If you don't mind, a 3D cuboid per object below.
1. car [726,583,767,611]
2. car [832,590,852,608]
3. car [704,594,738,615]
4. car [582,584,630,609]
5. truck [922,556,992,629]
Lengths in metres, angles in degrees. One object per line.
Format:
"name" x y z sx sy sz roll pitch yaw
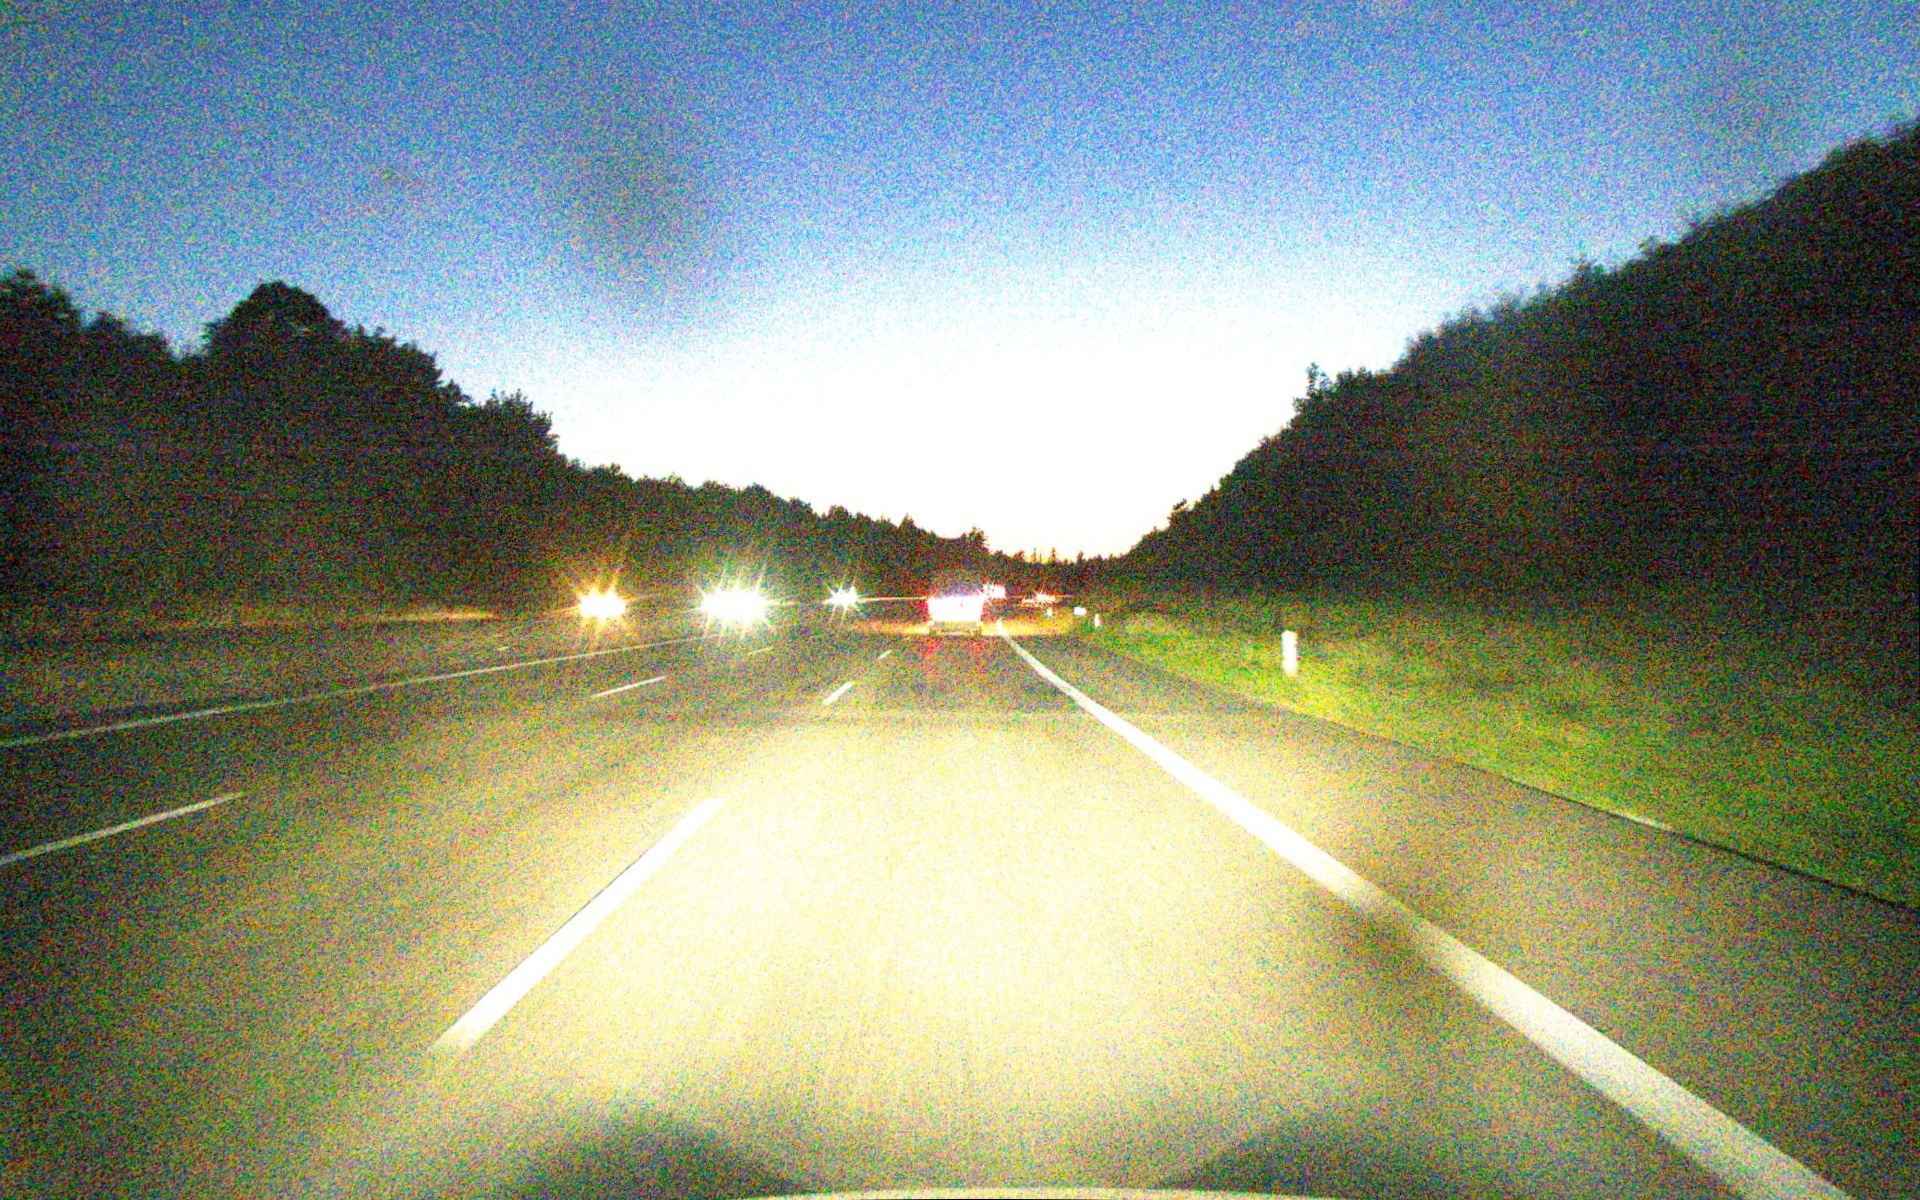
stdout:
"car" -14.200 -0.173 110.272 1.952 1.822 4.681 0 0 2
"car" -16.286 -0.146 227.885 2.038 2.531 6.244 0 0 2
"car" -18.018 0.337 124.960 1.953 1.506 4.929 0 0 -1
"car" -21.921 -0.207 102.662 1.952 1.534 4.401 0 0 1
"truck" -0.187 -0.286 65.100 2.577 2.670 8.682 0 0 -1
